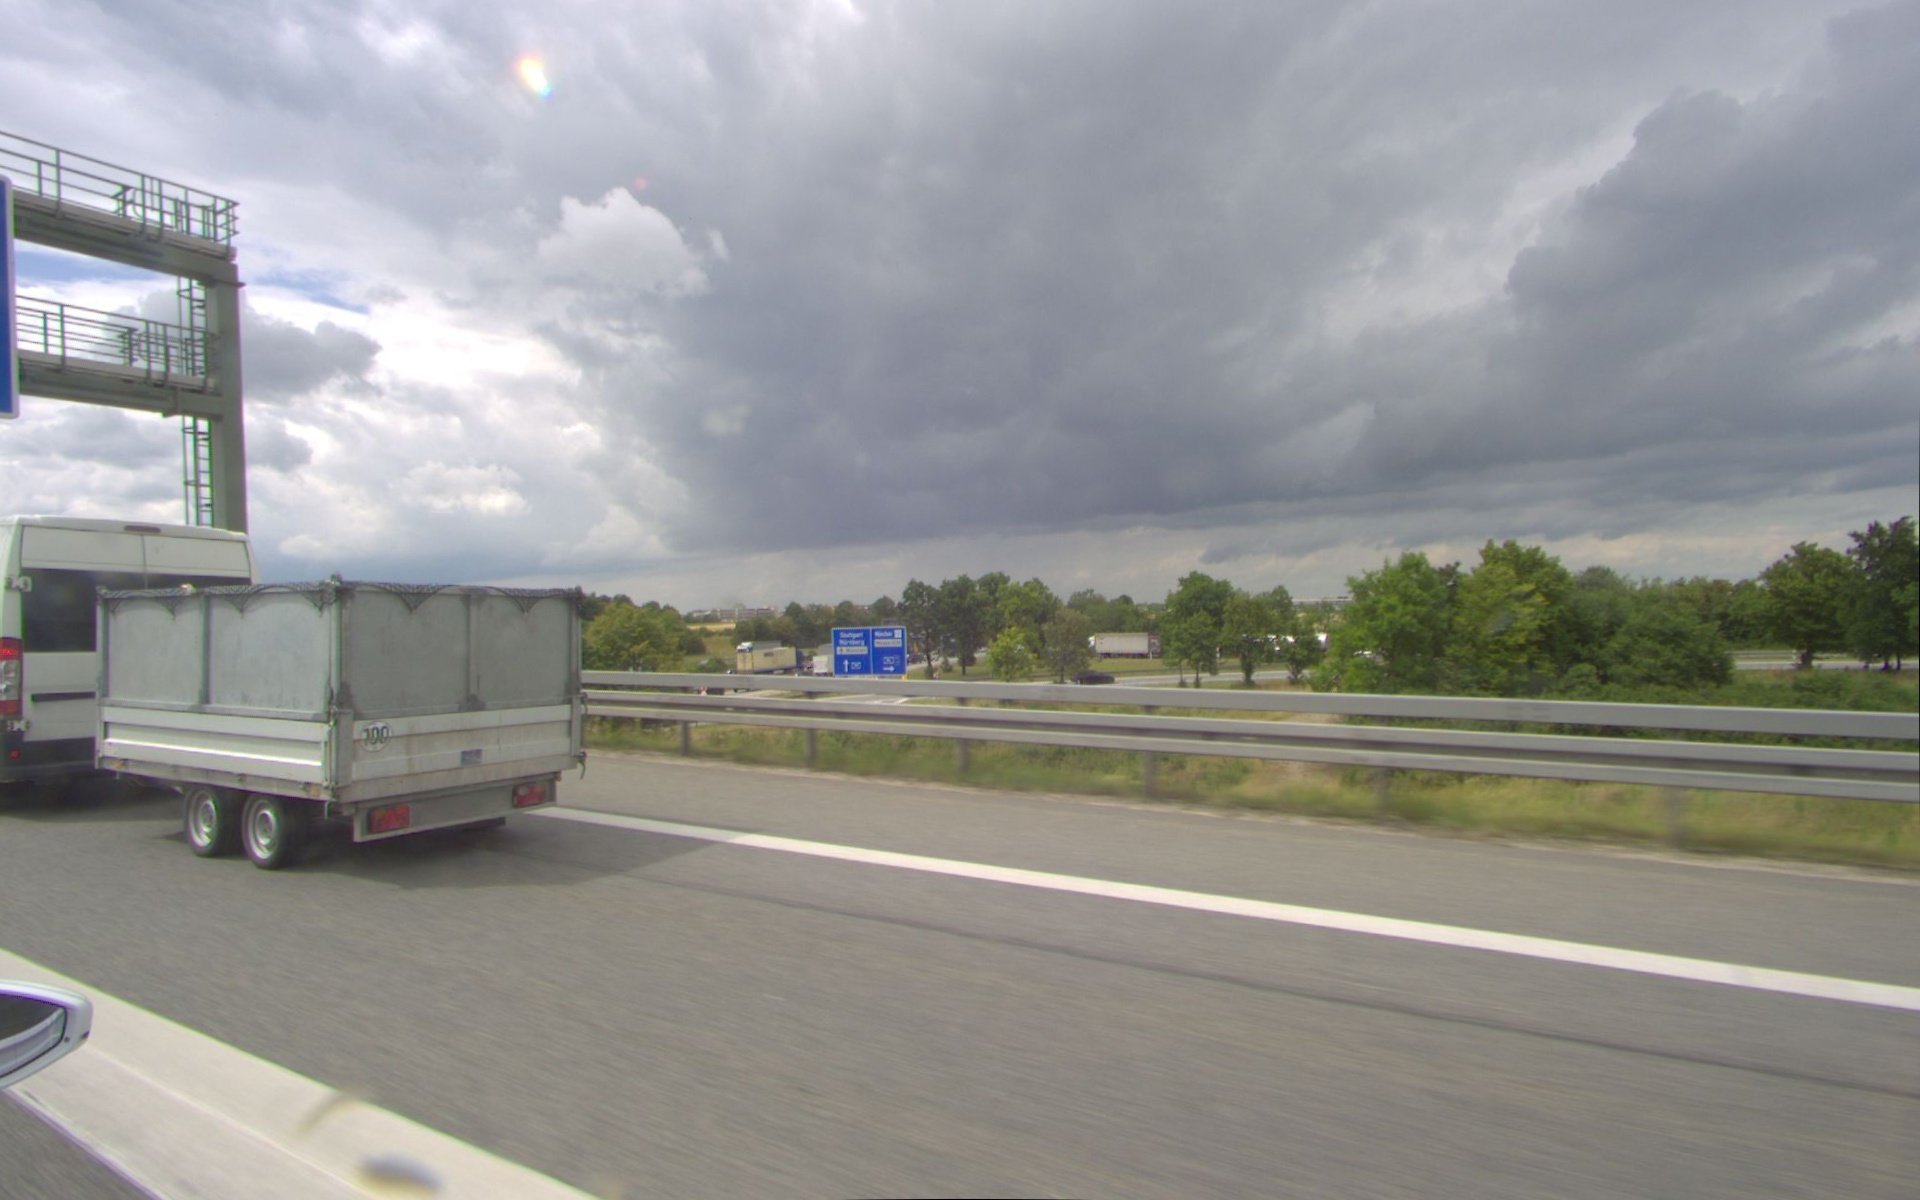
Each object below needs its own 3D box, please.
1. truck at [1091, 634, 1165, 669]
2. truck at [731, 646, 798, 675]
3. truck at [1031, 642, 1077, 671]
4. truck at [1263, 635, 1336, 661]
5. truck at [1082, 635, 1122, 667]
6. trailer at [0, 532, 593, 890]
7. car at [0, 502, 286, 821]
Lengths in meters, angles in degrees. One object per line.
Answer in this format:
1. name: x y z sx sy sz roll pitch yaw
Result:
1. truck: 27.058 8.230 162.596 3.804 5.281 14.793 1 -2 -28
2. truck: -28.256 8.794 145.778 3.253 3.985 13.720 0 -3 19
3. truck: 17.452 10.470 186.854 3.882 5.104 12.981 1 -2 -17
4. truck: 46.453 6.515 137.347 8.932 3.410 3.312 -2 -2 44
5. truck: 23.870 8.578 168.769 3.799 5.380 6.421 0 -2 -25
6. trailer: -5.134 0.690 7.622 4.560 2.039 1.854 -1 -2 28
7. car: -9.635 0.554 10.166 6.058 2.485 2.113 -1 -2 29
